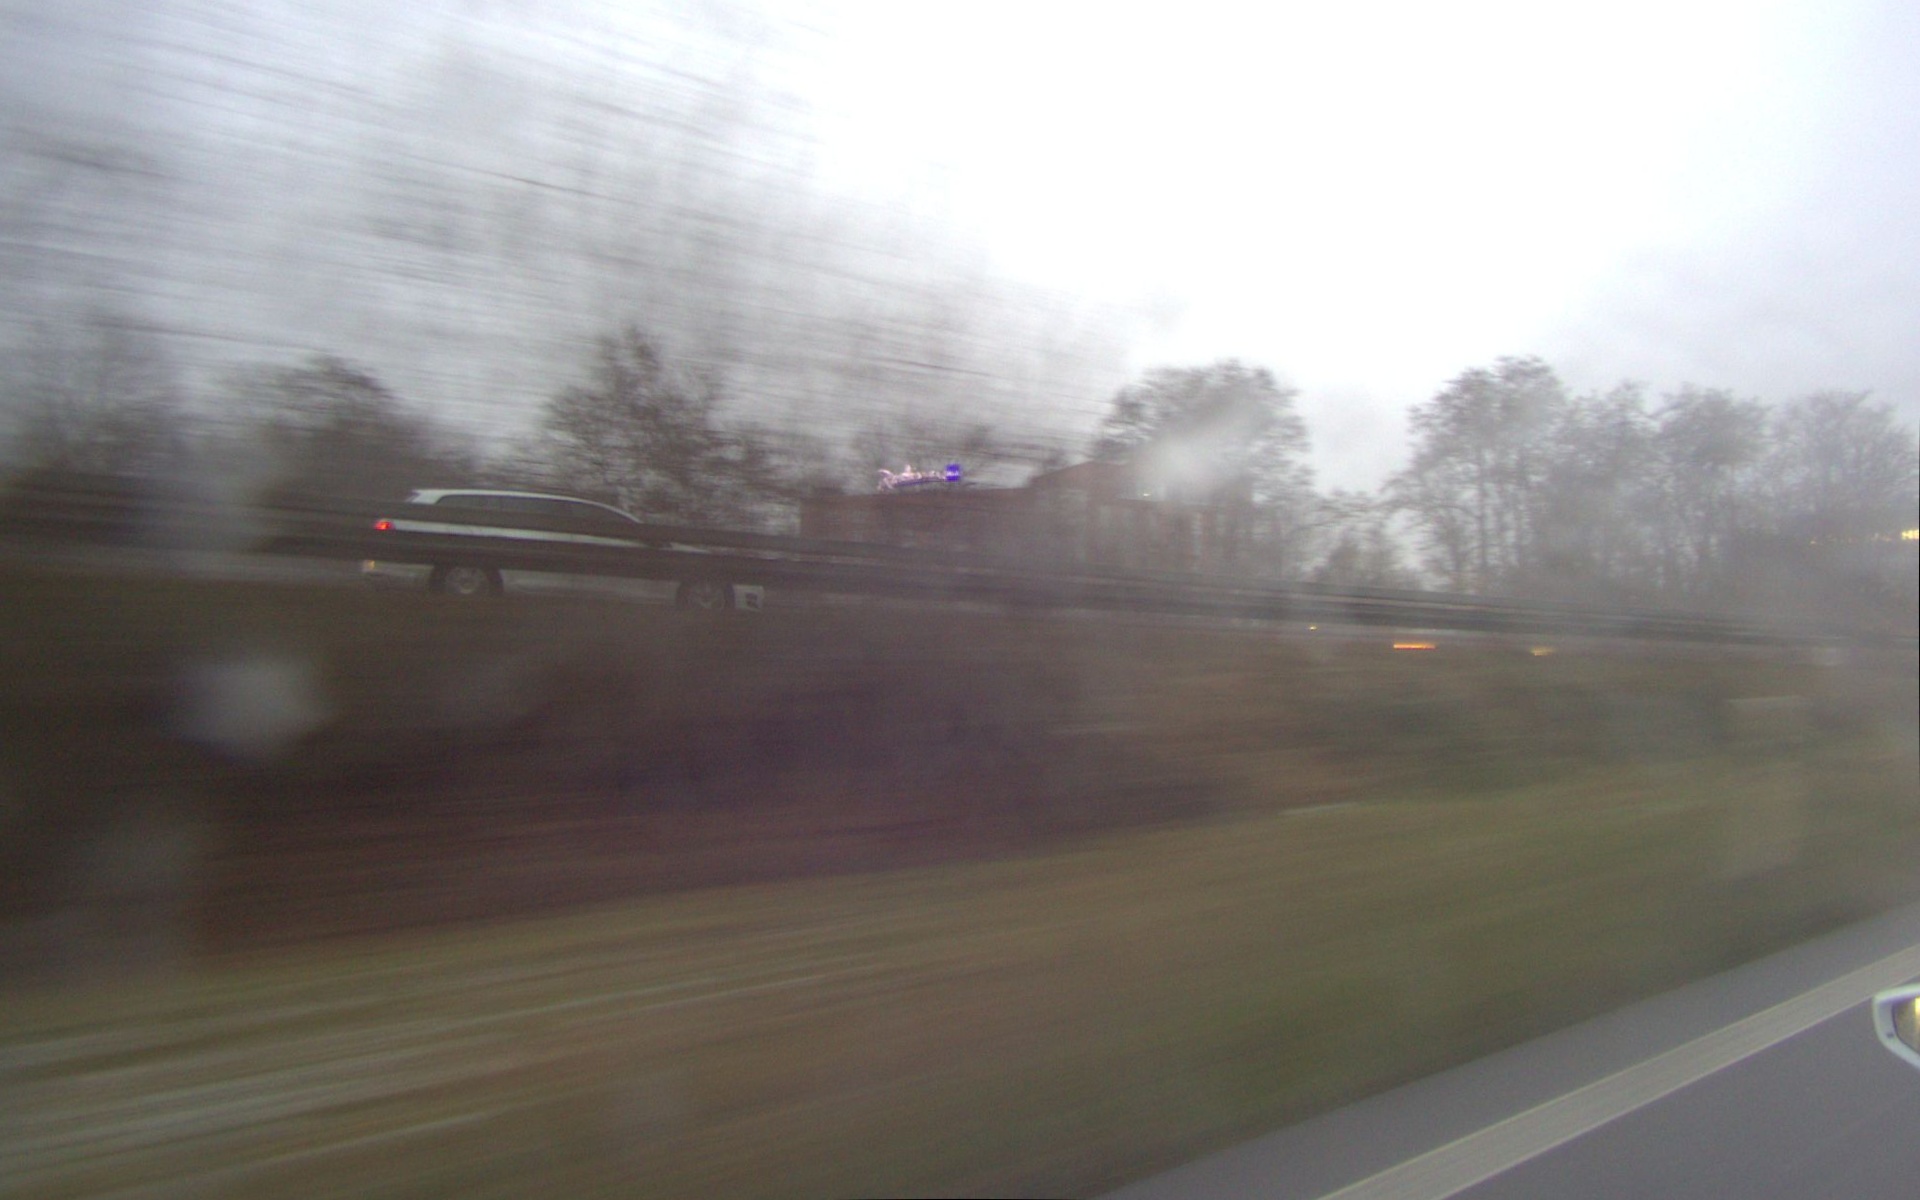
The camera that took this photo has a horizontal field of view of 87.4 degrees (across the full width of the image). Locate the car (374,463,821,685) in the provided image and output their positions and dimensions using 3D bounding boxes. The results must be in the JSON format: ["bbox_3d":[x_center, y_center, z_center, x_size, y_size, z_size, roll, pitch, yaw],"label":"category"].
[{"bbox_3d":[-4.362,-0.267,12.441,4.693,2.039,1.986,6,3,-26],"label":"car"}]
